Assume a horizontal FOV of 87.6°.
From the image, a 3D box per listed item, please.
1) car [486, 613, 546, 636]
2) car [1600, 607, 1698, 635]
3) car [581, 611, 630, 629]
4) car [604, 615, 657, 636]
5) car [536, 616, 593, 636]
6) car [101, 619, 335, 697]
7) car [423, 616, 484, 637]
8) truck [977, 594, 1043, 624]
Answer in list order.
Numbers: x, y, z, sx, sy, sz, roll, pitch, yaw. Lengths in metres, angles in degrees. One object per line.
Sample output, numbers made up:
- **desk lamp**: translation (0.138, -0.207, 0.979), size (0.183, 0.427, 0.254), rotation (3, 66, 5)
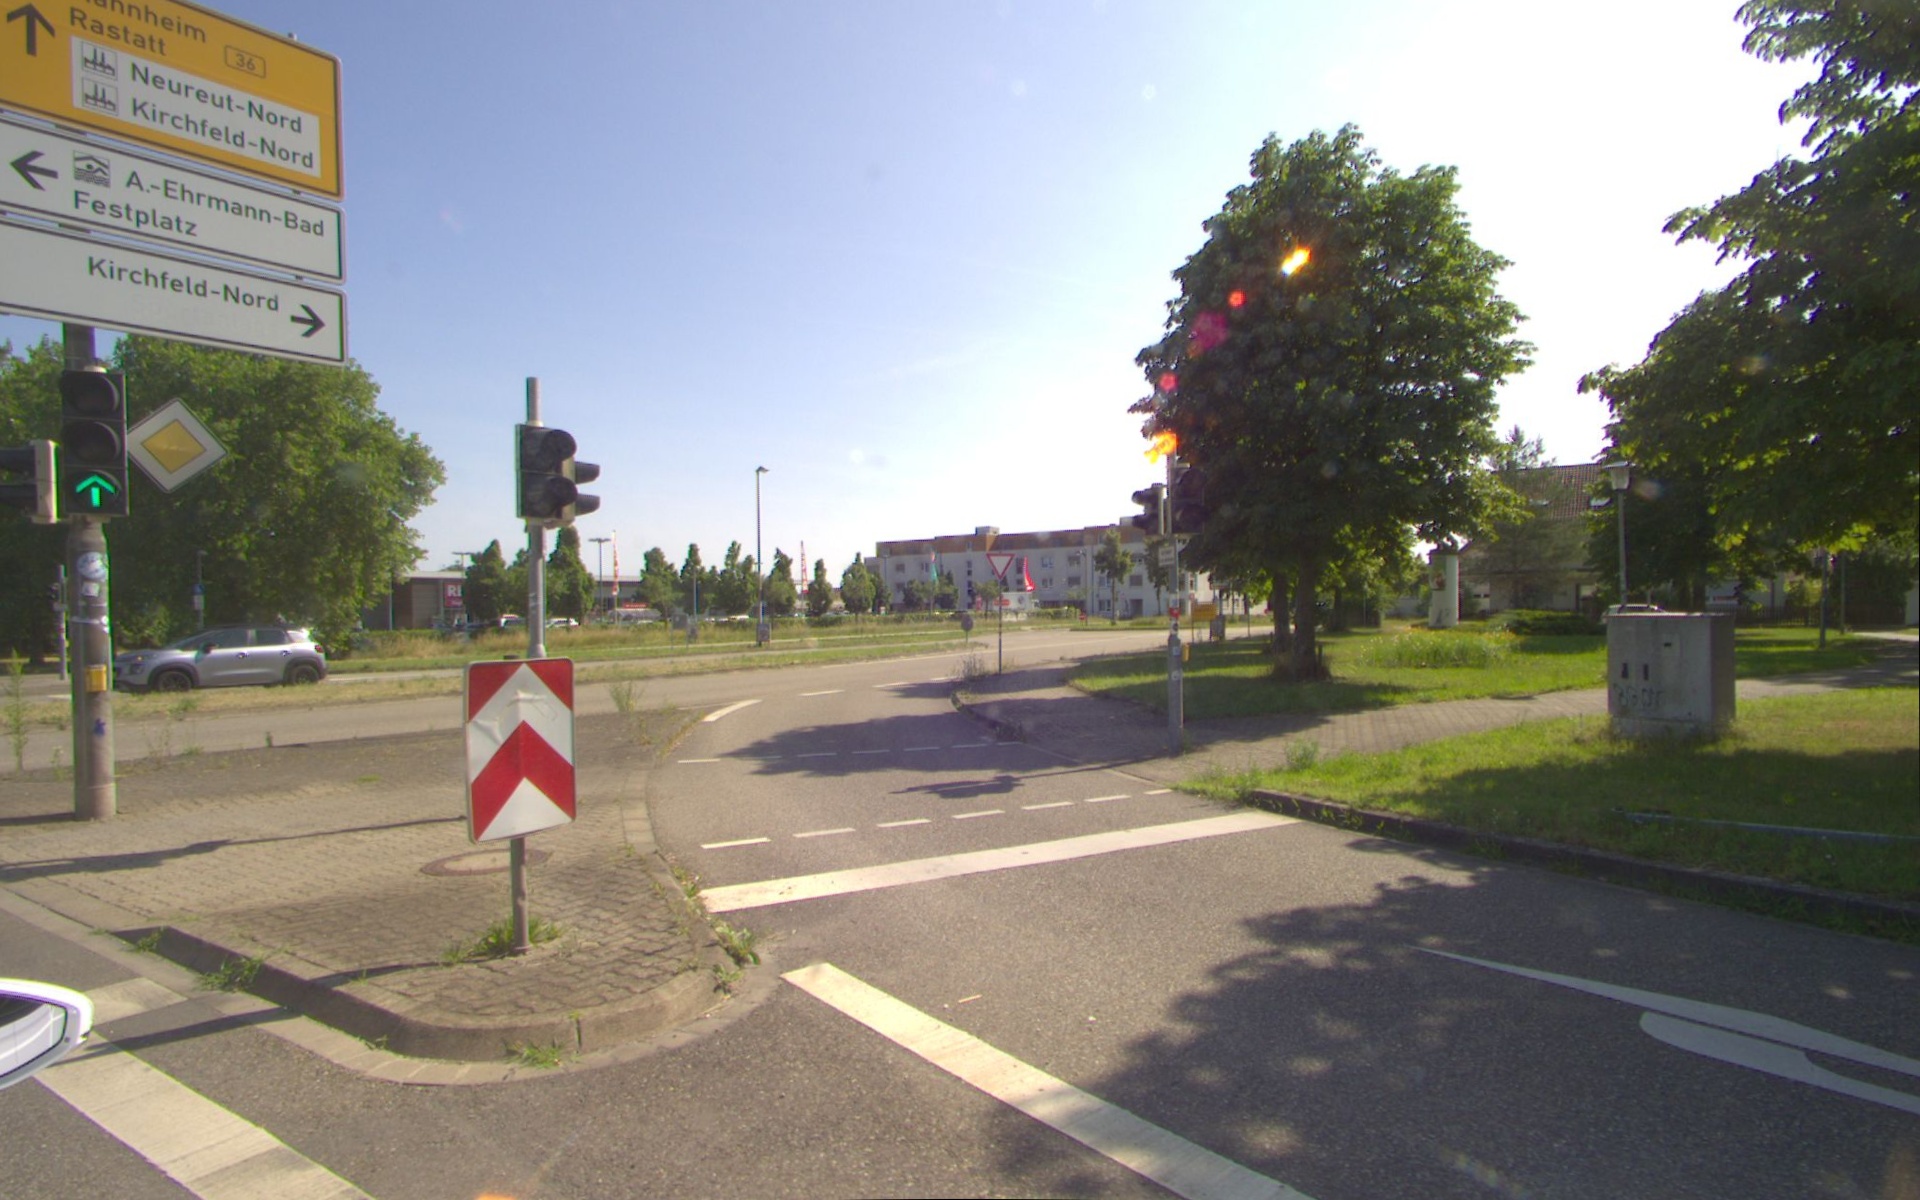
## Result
- **car**: translation (-35.873, 2.001, 80.917), size (1.978, 1.750, 3.967), rotation (-1, 0, 41)
- **car**: translation (34.141, 1.051, 49.707), size (3.947, 1.305, 1.722), rotation (-1, -1, 35)
- **car**: translation (-37.728, 2.141, 106.649), size (1.968, 1.773, 4.465), rotation (-1, -1, 45)
- **car**: translation (-28.770, 2.233, 87.575), size (1.978, 1.750, 3.967), rotation (-1, 0, 41)
- **car**: translation (-36.115, 2.342, 91.512), size (1.963, 1.773, 4.474), rotation (-1, -1, 38)
- **car**: translation (-17.107, 1.280, 23.275), size (1.718, 1.584, 4.042), rotation (-1, -1, 33)
- **car**: translation (-44.932, 2.311, 88.875), size (1.963, 1.773, 4.474), rotation (-1, -1, 38)
- **truck**: translation (6.272, 1.112, 123.945), size (8.139, 3.592, 2.618), rotation (0, 0, -32)
